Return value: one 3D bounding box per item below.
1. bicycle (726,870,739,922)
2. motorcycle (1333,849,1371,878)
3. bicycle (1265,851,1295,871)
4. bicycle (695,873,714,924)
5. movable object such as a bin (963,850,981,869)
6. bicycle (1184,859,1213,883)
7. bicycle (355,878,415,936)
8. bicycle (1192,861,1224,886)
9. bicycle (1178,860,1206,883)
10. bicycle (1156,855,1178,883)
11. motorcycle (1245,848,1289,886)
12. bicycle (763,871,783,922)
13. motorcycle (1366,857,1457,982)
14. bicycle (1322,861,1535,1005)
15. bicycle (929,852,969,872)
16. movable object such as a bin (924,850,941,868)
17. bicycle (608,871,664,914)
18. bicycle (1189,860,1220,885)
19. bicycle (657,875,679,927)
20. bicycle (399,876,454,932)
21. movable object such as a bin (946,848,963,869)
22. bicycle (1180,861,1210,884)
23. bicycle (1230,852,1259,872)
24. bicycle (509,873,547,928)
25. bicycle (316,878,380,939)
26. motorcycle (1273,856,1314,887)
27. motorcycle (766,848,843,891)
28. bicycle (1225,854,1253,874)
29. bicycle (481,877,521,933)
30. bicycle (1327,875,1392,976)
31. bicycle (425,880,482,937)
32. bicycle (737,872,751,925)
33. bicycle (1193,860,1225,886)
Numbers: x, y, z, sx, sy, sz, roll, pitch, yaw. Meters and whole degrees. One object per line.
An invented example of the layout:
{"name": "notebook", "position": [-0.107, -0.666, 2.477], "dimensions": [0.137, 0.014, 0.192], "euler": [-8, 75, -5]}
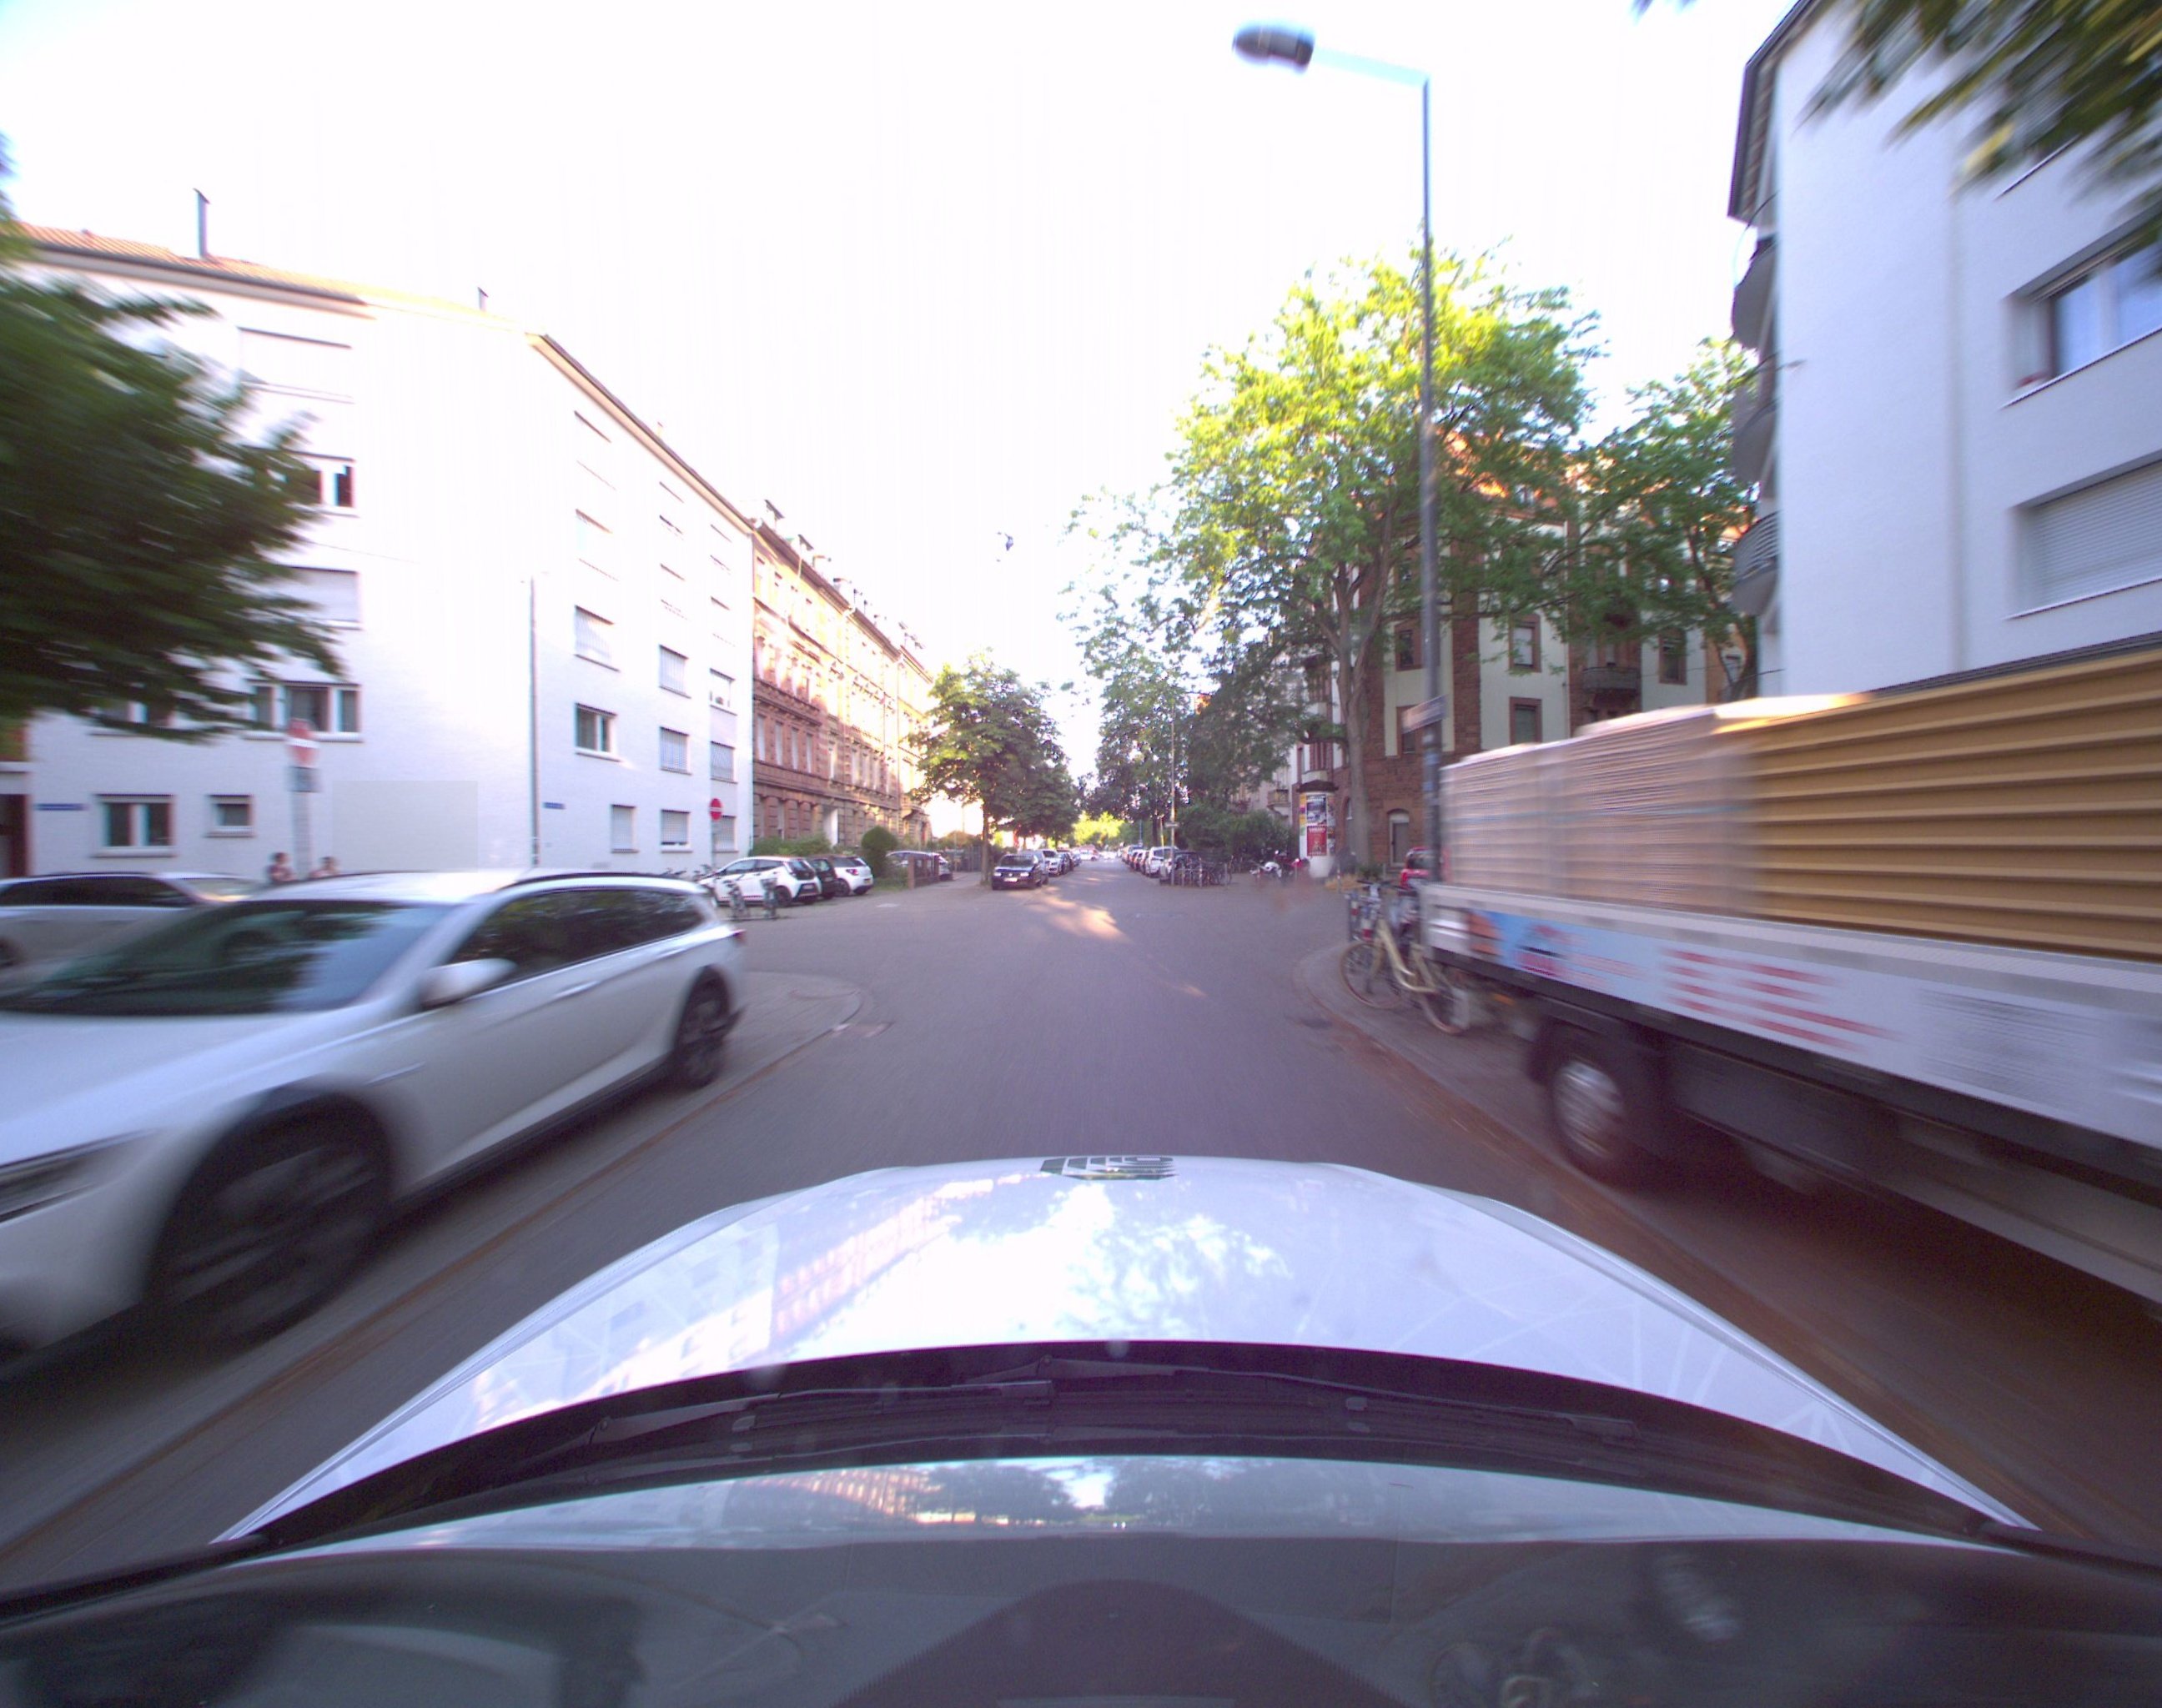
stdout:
{"name": "bicycle", "position": [-8.358, 0.980, 19.499], "dimensions": [0.243, 1.181, 1.666], "euler": [-1, 0, -24]}
{"name": "motorcycle", "position": [10.634, 0.355, 31.935], "dimensions": [2.123, 1.079, 0.432], "euler": [-3, 2, -44]}
{"name": "bicycle", "position": [11.029, 0.371, 45.144], "dimensions": [1.504, 1.034, 0.330], "euler": [-2, 1, -1]}
{"name": "bicycle", "position": [-8.880, 1.014, 19.220], "dimensions": [0.368, 1.109, 1.837], "euler": [-1, 0, -24]}
{"name": "movable object such as a bin", "position": [-7.607, 0.378, 56.988], "dimensions": [1.007, 1.321, 1.007], "euler": [1, 1, 6]}
{"name": "bicycle", "position": [4.952, 0.705, 34.304], "dimensions": [1.228, 0.957, 0.328], "euler": [-2, 1, -21]}
{"name": "bicycle", "position": [-14.845, 1.096, 17.400], "dimensions": [0.367, 1.105, 1.838], "euler": [-1, 0, -21]}
{"name": "bicycle", "position": [5.147, 0.791, 32.988], "dimensions": [1.220, 0.987, 0.330], "euler": [-2, 1, -1]}
{"name": "bicycle", "position": [4.843, 0.774, 35.622], "dimensions": [1.230, 0.951, 0.327], "euler": [-2, 1, -26]}
{"name": "bicycle", "position": [3.799, 0.648, 35.864], "dimensions": [0.439, 1.173, 1.646], "euler": [-1, 0, 27]}
{"name": "motorcycle", "position": [7.410, 0.506, 32.387], "dimensions": [2.226, 1.408, 0.578], "euler": [-3, 2, -45]}
{"name": "bicycle", "position": [-7.526, 1.005, 19.878], "dimensions": [0.338, 1.181, 1.862], "euler": [-1, -1, -24]}
{"name": "motorcycle", "position": [4.035, 0.735, 10.079], "dimensions": [0.499, 1.356, 2.067], "euler": [-3, -1, 8]}
{"name": "bicycle", "position": [3.403, 0.751, 8.005], "dimensions": [1.899, 1.258, 0.406], "euler": [-3, 0, -4]}
{"name": "bicycle", "position": [-8.833, 0.527, 54.573], "dimensions": [2.515, 1.192, 0.645], "euler": [2, 1, 7]}
{"name": "movable object such as a bin", "position": [-10.424, 0.359, 57.145], "dimensions": [1.097, 1.209, 1.001], "euler": [1, 1, -12]}
{"name": "bicycle", "position": [-12.029, 1.014, 22.086], "dimensions": [0.394, 1.062, 1.879], "euler": [-1, 0, 3]}
{"name": "bicycle", "position": [5.132, 0.761, 33.908], "dimensions": [1.226, 0.963, 0.329], "euler": [-2, 1, -16]}
{"name": "bicycle", "position": [-9.655, 1.074, 19.069], "dimensions": [0.368, 1.109, 1.837], "euler": [-1, 0, -24]}
{"name": "bicycle", "position": [-14.104, 1.045, 17.592], "dimensions": [0.367, 1.105, 1.838], "euler": [-1, 0, -21]}
{"name": "movable object such as a bin", "position": [-8.844, 0.334, 56.845], "dimensions": [1.097, 1.414, 1.001], "euler": [1, 1, -12]}
{"name": "bicycle", "position": [4.905, 0.791, 35.007], "dimensions": [1.228, 0.947, 0.328], "euler": [-2, 1, -21]}
{"name": "bicycle", "position": [9.145, 0.434, 45.508], "dimensions": [1.504, 1.034, 0.330], "euler": [-2, 1, -1]}
{"name": "bicycle", "position": [-12.288, 1.000, 18.127], "dimensions": [0.368, 1.116, 1.837], "euler": [-1, 0, -24]}
{"name": "bicycle", "position": [-15.418, 1.113, 17.172], "dimensions": [0.367, 1.165, 1.838], "euler": [-1, 0, -21]}
{"name": "motorcycle", "position": [8.211, 0.653, 31.431], "dimensions": [2.225, 1.079, 0.432], "euler": [-3, 2, -44]}
{"name": "motorcycle", "position": [-10.785, 0.600, 31.806], "dimensions": [2.835, 1.638, 0.677], "euler": [-1, 0, 9]}
{"name": "bicycle", "position": [8.741, 0.541, 45.043], "dimensions": [1.504, 1.034, 0.330], "euler": [-2, 1, -1]}
{"name": "bicycle", "position": [-12.887, 1.105, 18.115], "dimensions": [0.368, 1.116, 1.837], "euler": [-1, 0, -24]}
{"name": "bicycle", "position": [3.642, 0.879, 10.763], "dimensions": [0.403, 1.109, 2.160], "euler": [-3, 0, 9]}
{"name": "bicycle", "position": [-13.654, 1.148, 17.759], "dimensions": [0.401, 1.116, 1.840], "euler": [-1, 0, -19]}
{"name": "bicycle", "position": [-8.119, 1.043, 19.597], "dimensions": [0.243, 1.181, 1.666], "euler": [-1, 0, -24]}
{"name": "bicycle", "position": [5.250, 0.767, 33.354], "dimensions": [1.221, 0.987, 0.330], "euler": [-2, 1, -2]}
